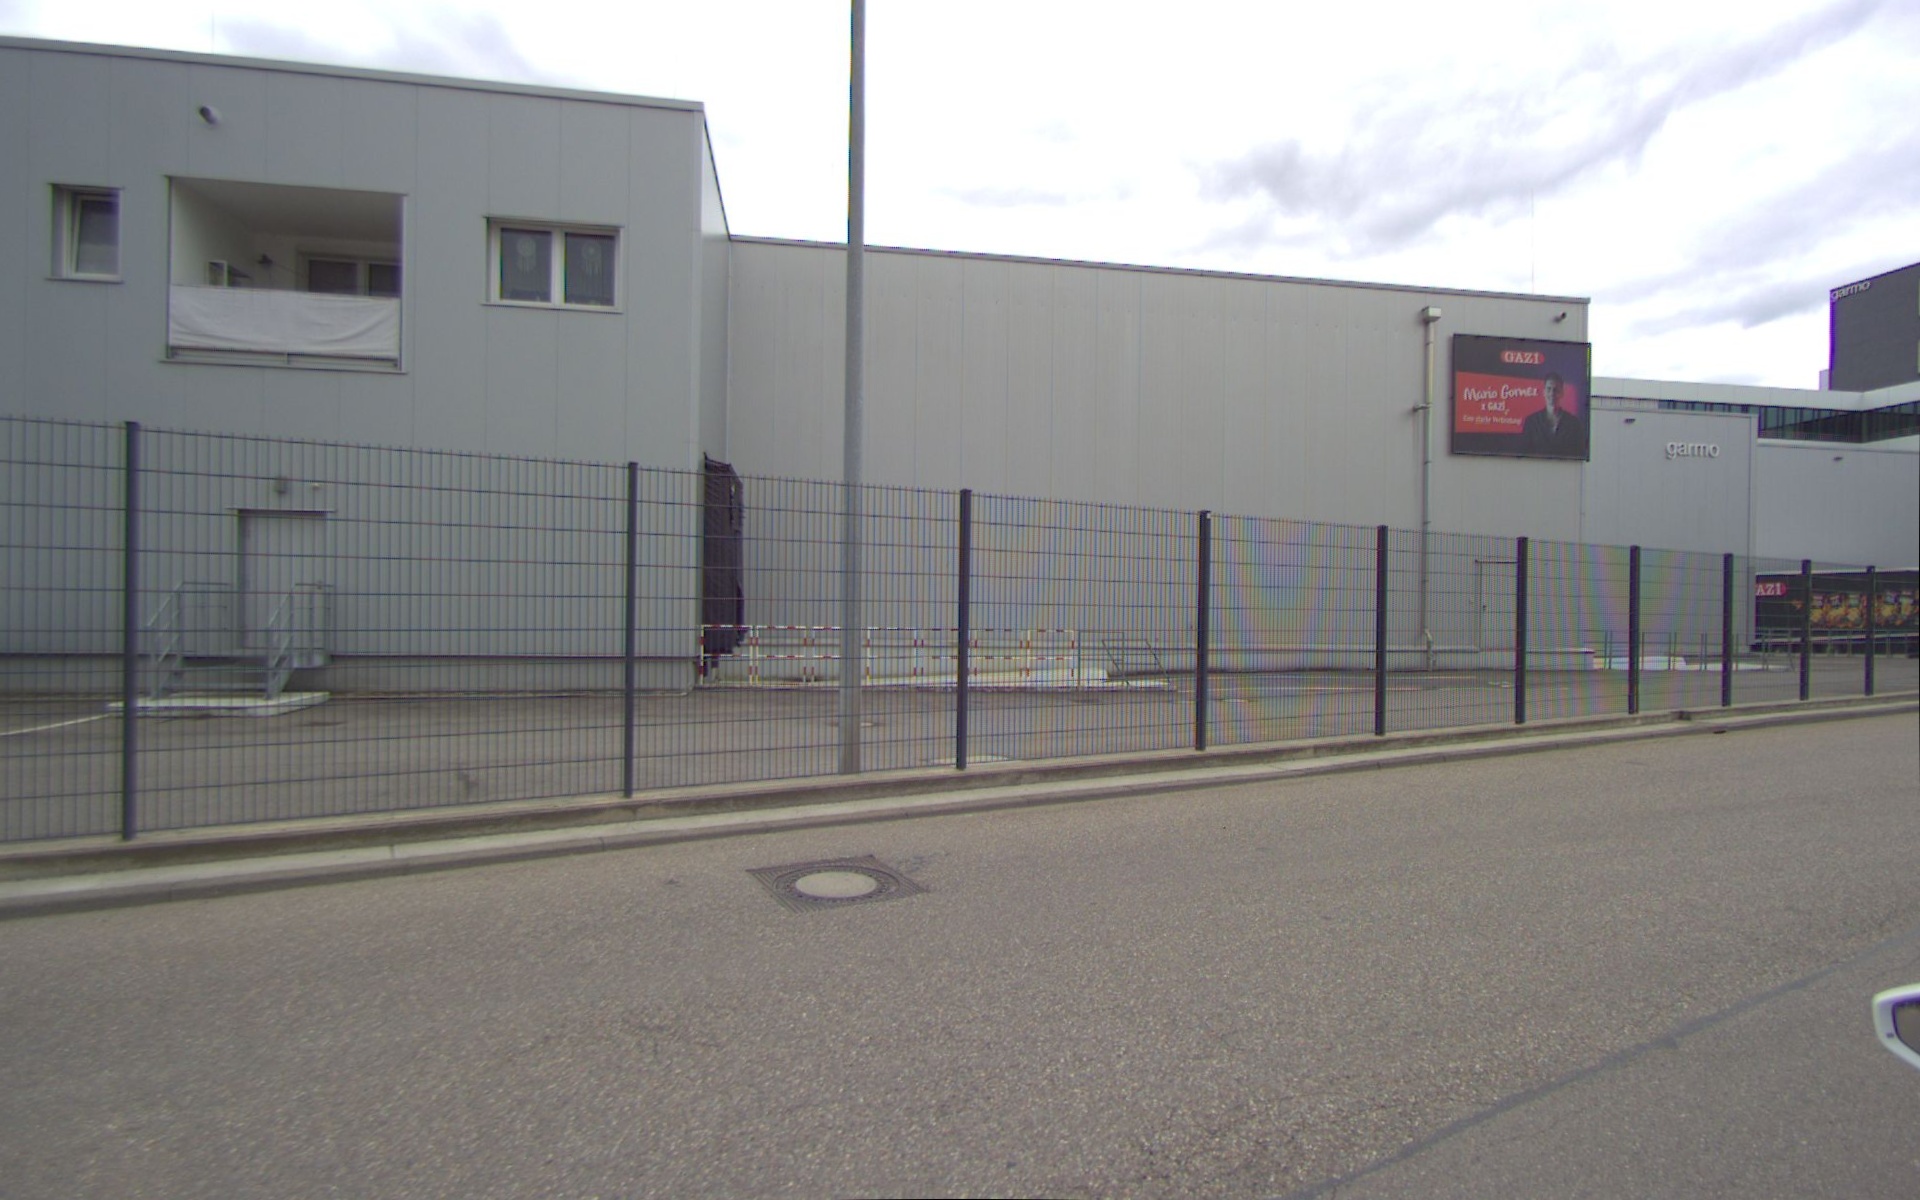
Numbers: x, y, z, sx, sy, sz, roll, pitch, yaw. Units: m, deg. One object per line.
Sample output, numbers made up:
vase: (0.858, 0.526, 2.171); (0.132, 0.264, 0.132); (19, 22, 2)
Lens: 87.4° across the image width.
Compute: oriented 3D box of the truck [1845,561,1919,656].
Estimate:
truck: (44.234, 0.410, 45.233); (6.964, 4.085, 2.746); (1, 0, -10)

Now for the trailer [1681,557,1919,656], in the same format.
trailer: (38.353, 0.312, 44.241); (12.389, 4.085, 2.746); (1, 0, -10)
